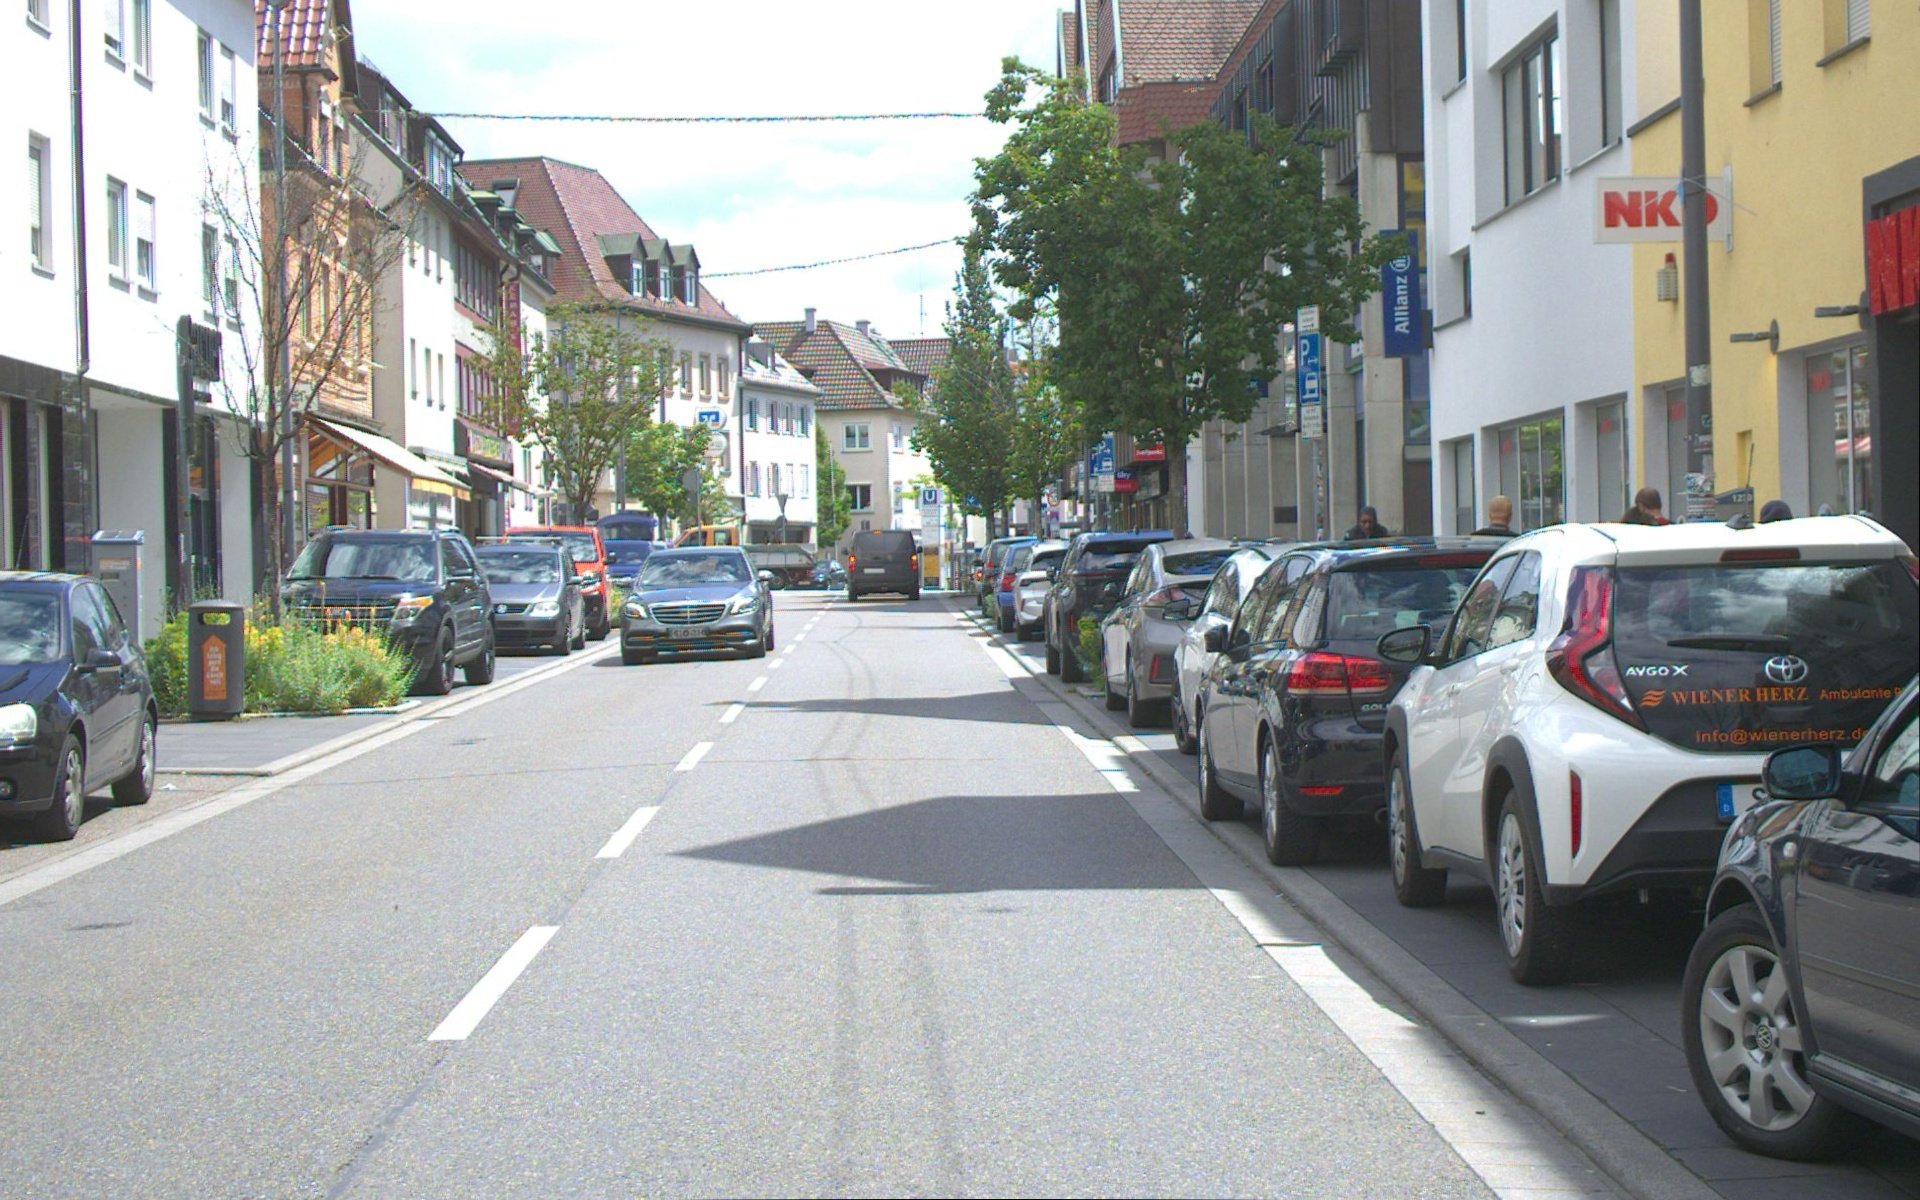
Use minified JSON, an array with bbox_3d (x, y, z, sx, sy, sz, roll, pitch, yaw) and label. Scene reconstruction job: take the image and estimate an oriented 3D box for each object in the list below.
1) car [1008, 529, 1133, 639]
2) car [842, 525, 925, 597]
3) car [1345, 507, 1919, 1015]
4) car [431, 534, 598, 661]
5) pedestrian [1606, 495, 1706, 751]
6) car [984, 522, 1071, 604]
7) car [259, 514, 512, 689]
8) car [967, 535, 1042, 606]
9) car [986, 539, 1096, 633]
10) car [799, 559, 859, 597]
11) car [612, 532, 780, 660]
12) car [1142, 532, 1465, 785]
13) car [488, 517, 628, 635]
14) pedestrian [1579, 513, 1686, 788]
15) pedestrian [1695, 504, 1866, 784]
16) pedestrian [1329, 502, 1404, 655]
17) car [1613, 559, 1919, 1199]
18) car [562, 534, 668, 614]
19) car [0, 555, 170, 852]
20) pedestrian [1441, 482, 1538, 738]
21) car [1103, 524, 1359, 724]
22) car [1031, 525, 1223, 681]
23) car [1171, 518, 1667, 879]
[{"bbox_3d":[1.615,-0.238,51.601,1.721,1.571,4.428,1,0,0],"label":"car"},{"bbox_3d":[-2.067,-1.010,91.418,2.040,1.842,5.000,1,0,-3],"label":"car"},{"bbox_3d":[2.521,0.499,12.602,1.689,1.568,3.756,1,0,-1],"label":"car"},{"bbox_3d":[-6.440,-0.039,50.124,1.816,1.749,4.464,1,0,0],"label":"car"},{"bbox_3d":[5.067,0.165,25.043,0.588,1.834,0.576,1,0,-1],"label":"pedestrian"},{"bbox_3d":[1.312,-0.744,68.119,1.609,1.527,3.795,-2,1,0],"label":"car"},{"bbox_3d":[-6.119,0.011,37.143,1.816,1.749,4.668,1,0,2],"label":"car"},{"bbox_3d":[1.014,-0.705,79.966,1.609,1.490,3.795,-4,1,0],"label":"car"},{"bbox_3d":[1.309,-0.234,57.195,1.721,1.488,4.109,1,0,0],"label":"car"},{"bbox_3d":[-5.283,-0.880,139.247,1.625,1.481,3.803,1,0,10],"label":"car"},{"bbox_3d":[-3.509,-0.062,46.394,1.905,1.558,4.646,-2,0,-1],"label":"car"},{"bbox_3d":[2.151,0.335,22.708,1.630,1.471,4.957,1,0,0],"label":"car"},{"bbox_3d":[-6.747,-0.394,58.151,1.816,1.882,4.841,1,0,0],"label":"car"},{"bbox_3d":[4.557,0.335,23.313,0.588,1.834,0.576,1,0,-1],"label":"pedestrian"},{"bbox_3d":[4.656,0.242,19.550,0.749,1.548,0.726,-1,0,-2],"label":"pedestrian"},{"bbox_3d":[4.675,-0.250,39.602,0.741,1.731,0.757,1,0,-1],"label":"pedestrian"},{"bbox_3d":[2.743,0.617,6.862,1.689,1.435,4.296,-3,0,-4],"label":"car"},{"bbox_3d":[-7.059,-0.551,70.657,1.799,1.592,4.389,0,1,-1],"label":"car"},{"bbox_3d":[-5.865,0.515,20.168,1.790,1.498,4.179,1,1,-5],"label":"car"},{"bbox_3d":[3.853,0.074,25.036,0.588,1.834,0.576,1,0,-1],"label":"pedestrian"},{"bbox_3d":[2.113,0.172,27.835,1.721,1.471,4.354,1,0,0],"label":"car"},{"bbox_3d":[1.740,0.024,37.006,1.721,1.571,4.109,1,0,-2],"label":"car"},{"bbox_3d":[2.118,0.374,17.099,1.689,1.467,4.524,1,2,-2],"label":"car"}]
